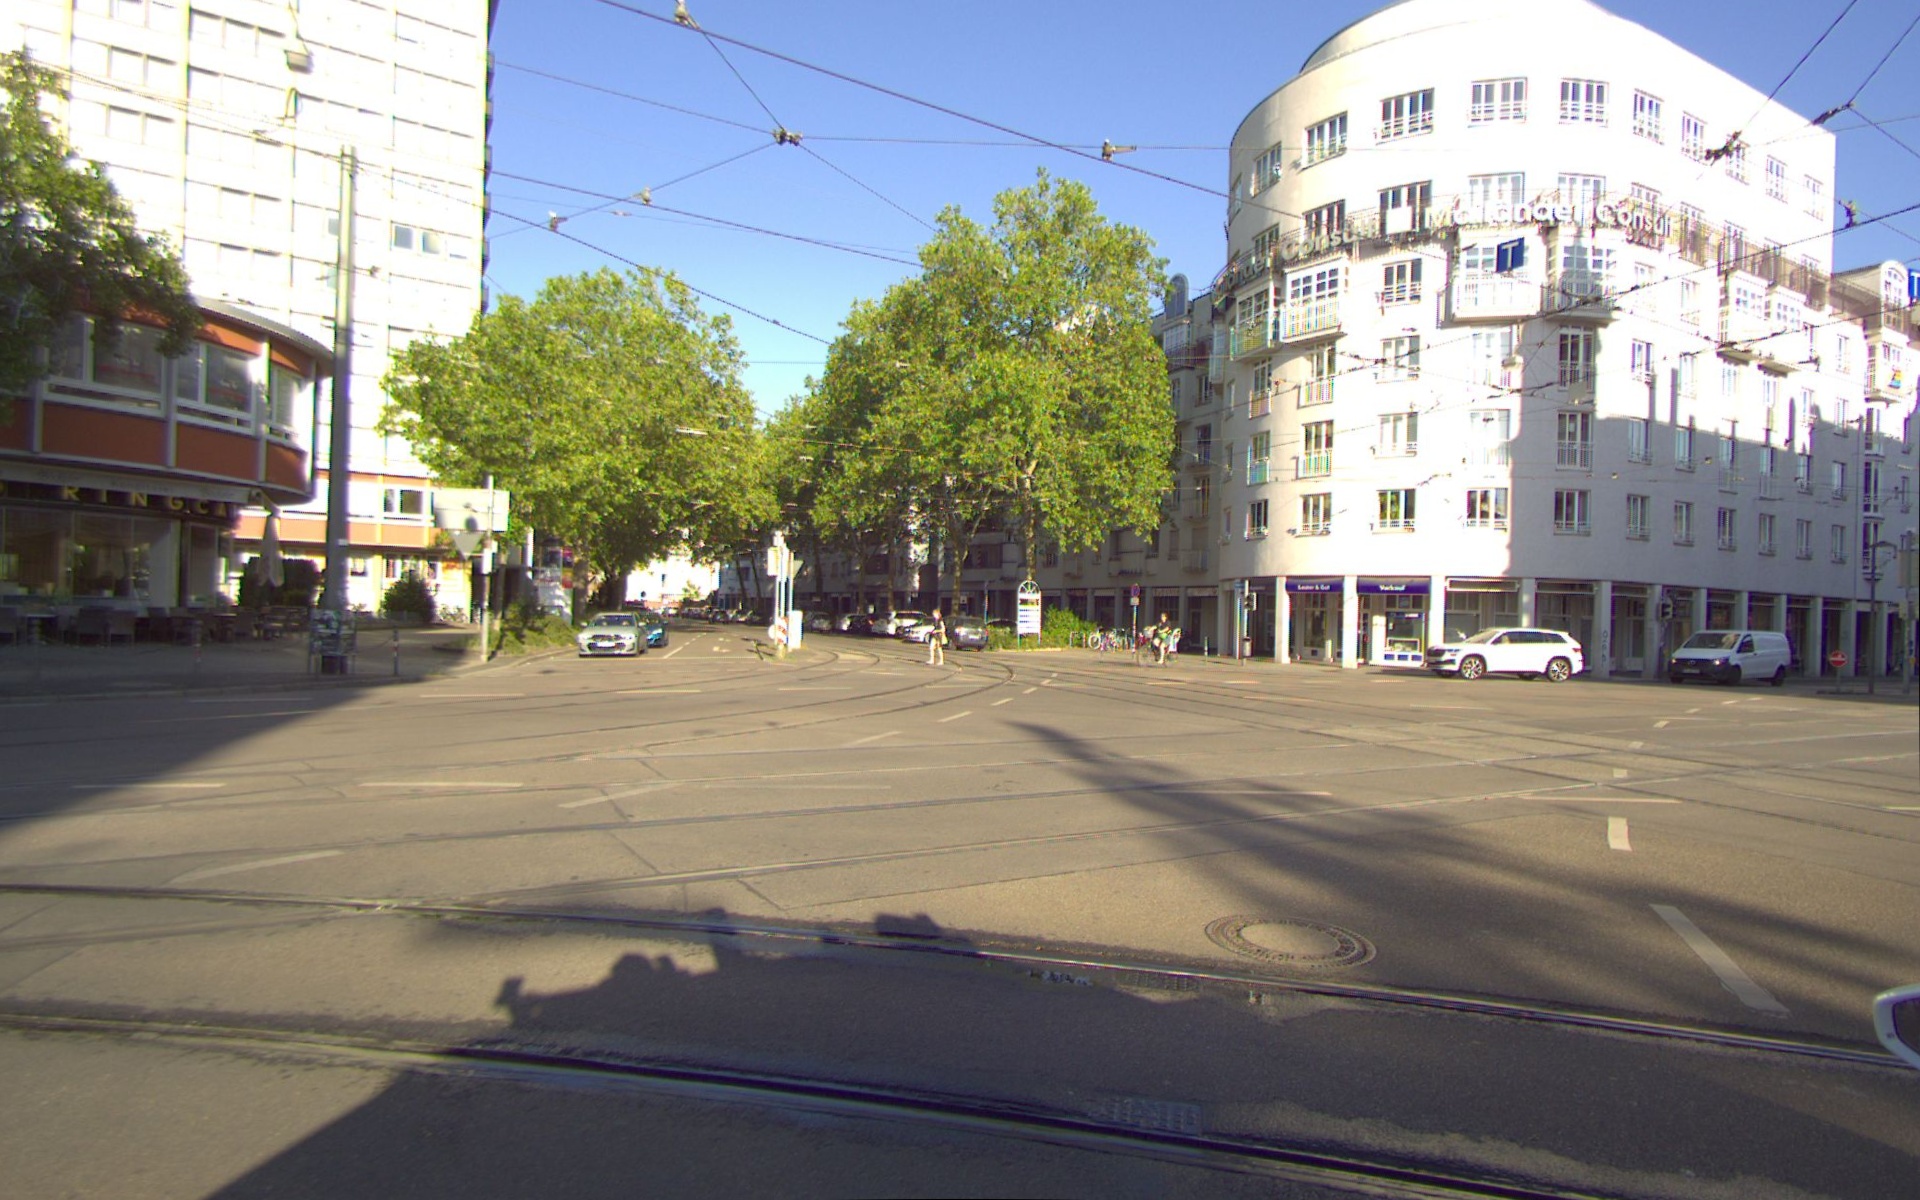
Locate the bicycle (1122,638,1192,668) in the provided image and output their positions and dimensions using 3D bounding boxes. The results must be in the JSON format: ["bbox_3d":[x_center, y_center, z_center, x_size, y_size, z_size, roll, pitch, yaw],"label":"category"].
[{"bbox_3d":[6.481,1.746,33.002,2.237,0.939,0.837,2,-1,-29],"label":"bicycle"}]

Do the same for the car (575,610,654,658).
[{"bbox_3d":[-11.334,1.094,33.221,1.858,1.440,4.446,2,-1,-12],"label":"car"}]

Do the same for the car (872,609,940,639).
[{"bbox_3d":[-3.489,1.553,64.861,3.953,1.738,1.785,2,-1,-30],"label":"car"}]

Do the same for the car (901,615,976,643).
[{"bbox_3d":[-1.245,1.680,58.108,3.953,1.530,1.785,2,-1,-30],"label":"car"}]

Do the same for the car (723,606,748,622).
[{"bbox_3d":[-25.816,1.588,115.474,1.778,1.530,3.969,3,1,-29],"label":"car"}]

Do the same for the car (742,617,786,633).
[{"bbox_3d":[-20.015,2.582,102.553,3.953,1.530,1.785,2,-1,-30],"label":"car"}]

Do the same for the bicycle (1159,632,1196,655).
[{"bbox_3d":[11.158,2.218,51.591,0.808,1.122,1.936,2,-1,-25],"label":"bicycle"}]

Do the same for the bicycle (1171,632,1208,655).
[{"bbox_3d":[11.875,2.240,52.069,0.808,1.122,1.936,2,-1,-25],"label":"bicycle"}]

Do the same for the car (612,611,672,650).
[{"bbox_3d":[-12.876,1.219,40.896,1.858,1.440,4.446,2,-1,-12],"label":"car"}]

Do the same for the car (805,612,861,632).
[{"bbox_3d":[-9.858,1.707,77.986,3.948,1.530,1.788,2,-1,-26],"label":"car"}]

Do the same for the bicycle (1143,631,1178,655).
[{"bbox_3d":[10.143,2.188,50.908,0.807,1.122,1.937,2,-1,-23],"label":"bicycle"}]

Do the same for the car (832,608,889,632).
[{"bbox_3d":[-7.554,1.530,76.450,3.953,1.738,1.785,2,-1,-30],"label":"car"}]

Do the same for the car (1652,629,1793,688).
[{"bbox_3d":[26.475,2.015,34.832,5.282,1.862,1.985,2,-1,-30],"label":"car"}]

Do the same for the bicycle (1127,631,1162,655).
[{"bbox_3d":[9.252,2.162,50.508,0.807,1.122,1.937,2,-1,-23],"label":"bicycle"}]

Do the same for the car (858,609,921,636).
[{"bbox_3d":[-4.890,1.547,69.798,3.953,1.738,1.785,2,-1,-30],"label":"car"}]

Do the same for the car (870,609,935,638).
[{"bbox_3d":[-3.826,1.575,67.155,3.953,1.738,1.785,2,-1,-30],"label":"car"}]

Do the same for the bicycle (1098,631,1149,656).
[{"bbox_3d":[8.010,2.110,49.370,0.931,1.122,2.414,2,-1,-42],"label":"bicycle"}]

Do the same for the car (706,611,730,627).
[{"bbox_3d":[-25.151,1.915,104.171,1.774,1.530,3.978,2,-1,-23],"label":"car"}]

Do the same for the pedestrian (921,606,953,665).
[{"bbox_3d":[-0.688,1.047,29.929,0.686,1.704,0.867,0,-1,-20],"label":"pedestrian"}]

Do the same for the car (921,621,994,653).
[{"bbox_3d":[-0.184,1.740,48.299,1.865,1.440,4.430,1,-1,-24],"label":"car"}]

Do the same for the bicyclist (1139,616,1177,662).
[{"bbox_3d":[6.493,1.269,33.002,0.885,1.487,0.837,2,0,-29],"label":"bicyclist"}]

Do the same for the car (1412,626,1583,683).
[{"bbox_3d":[17.131,1.724,32.149,4.424,1.641,1.999,2,-1,-4],"label":"car"}]
